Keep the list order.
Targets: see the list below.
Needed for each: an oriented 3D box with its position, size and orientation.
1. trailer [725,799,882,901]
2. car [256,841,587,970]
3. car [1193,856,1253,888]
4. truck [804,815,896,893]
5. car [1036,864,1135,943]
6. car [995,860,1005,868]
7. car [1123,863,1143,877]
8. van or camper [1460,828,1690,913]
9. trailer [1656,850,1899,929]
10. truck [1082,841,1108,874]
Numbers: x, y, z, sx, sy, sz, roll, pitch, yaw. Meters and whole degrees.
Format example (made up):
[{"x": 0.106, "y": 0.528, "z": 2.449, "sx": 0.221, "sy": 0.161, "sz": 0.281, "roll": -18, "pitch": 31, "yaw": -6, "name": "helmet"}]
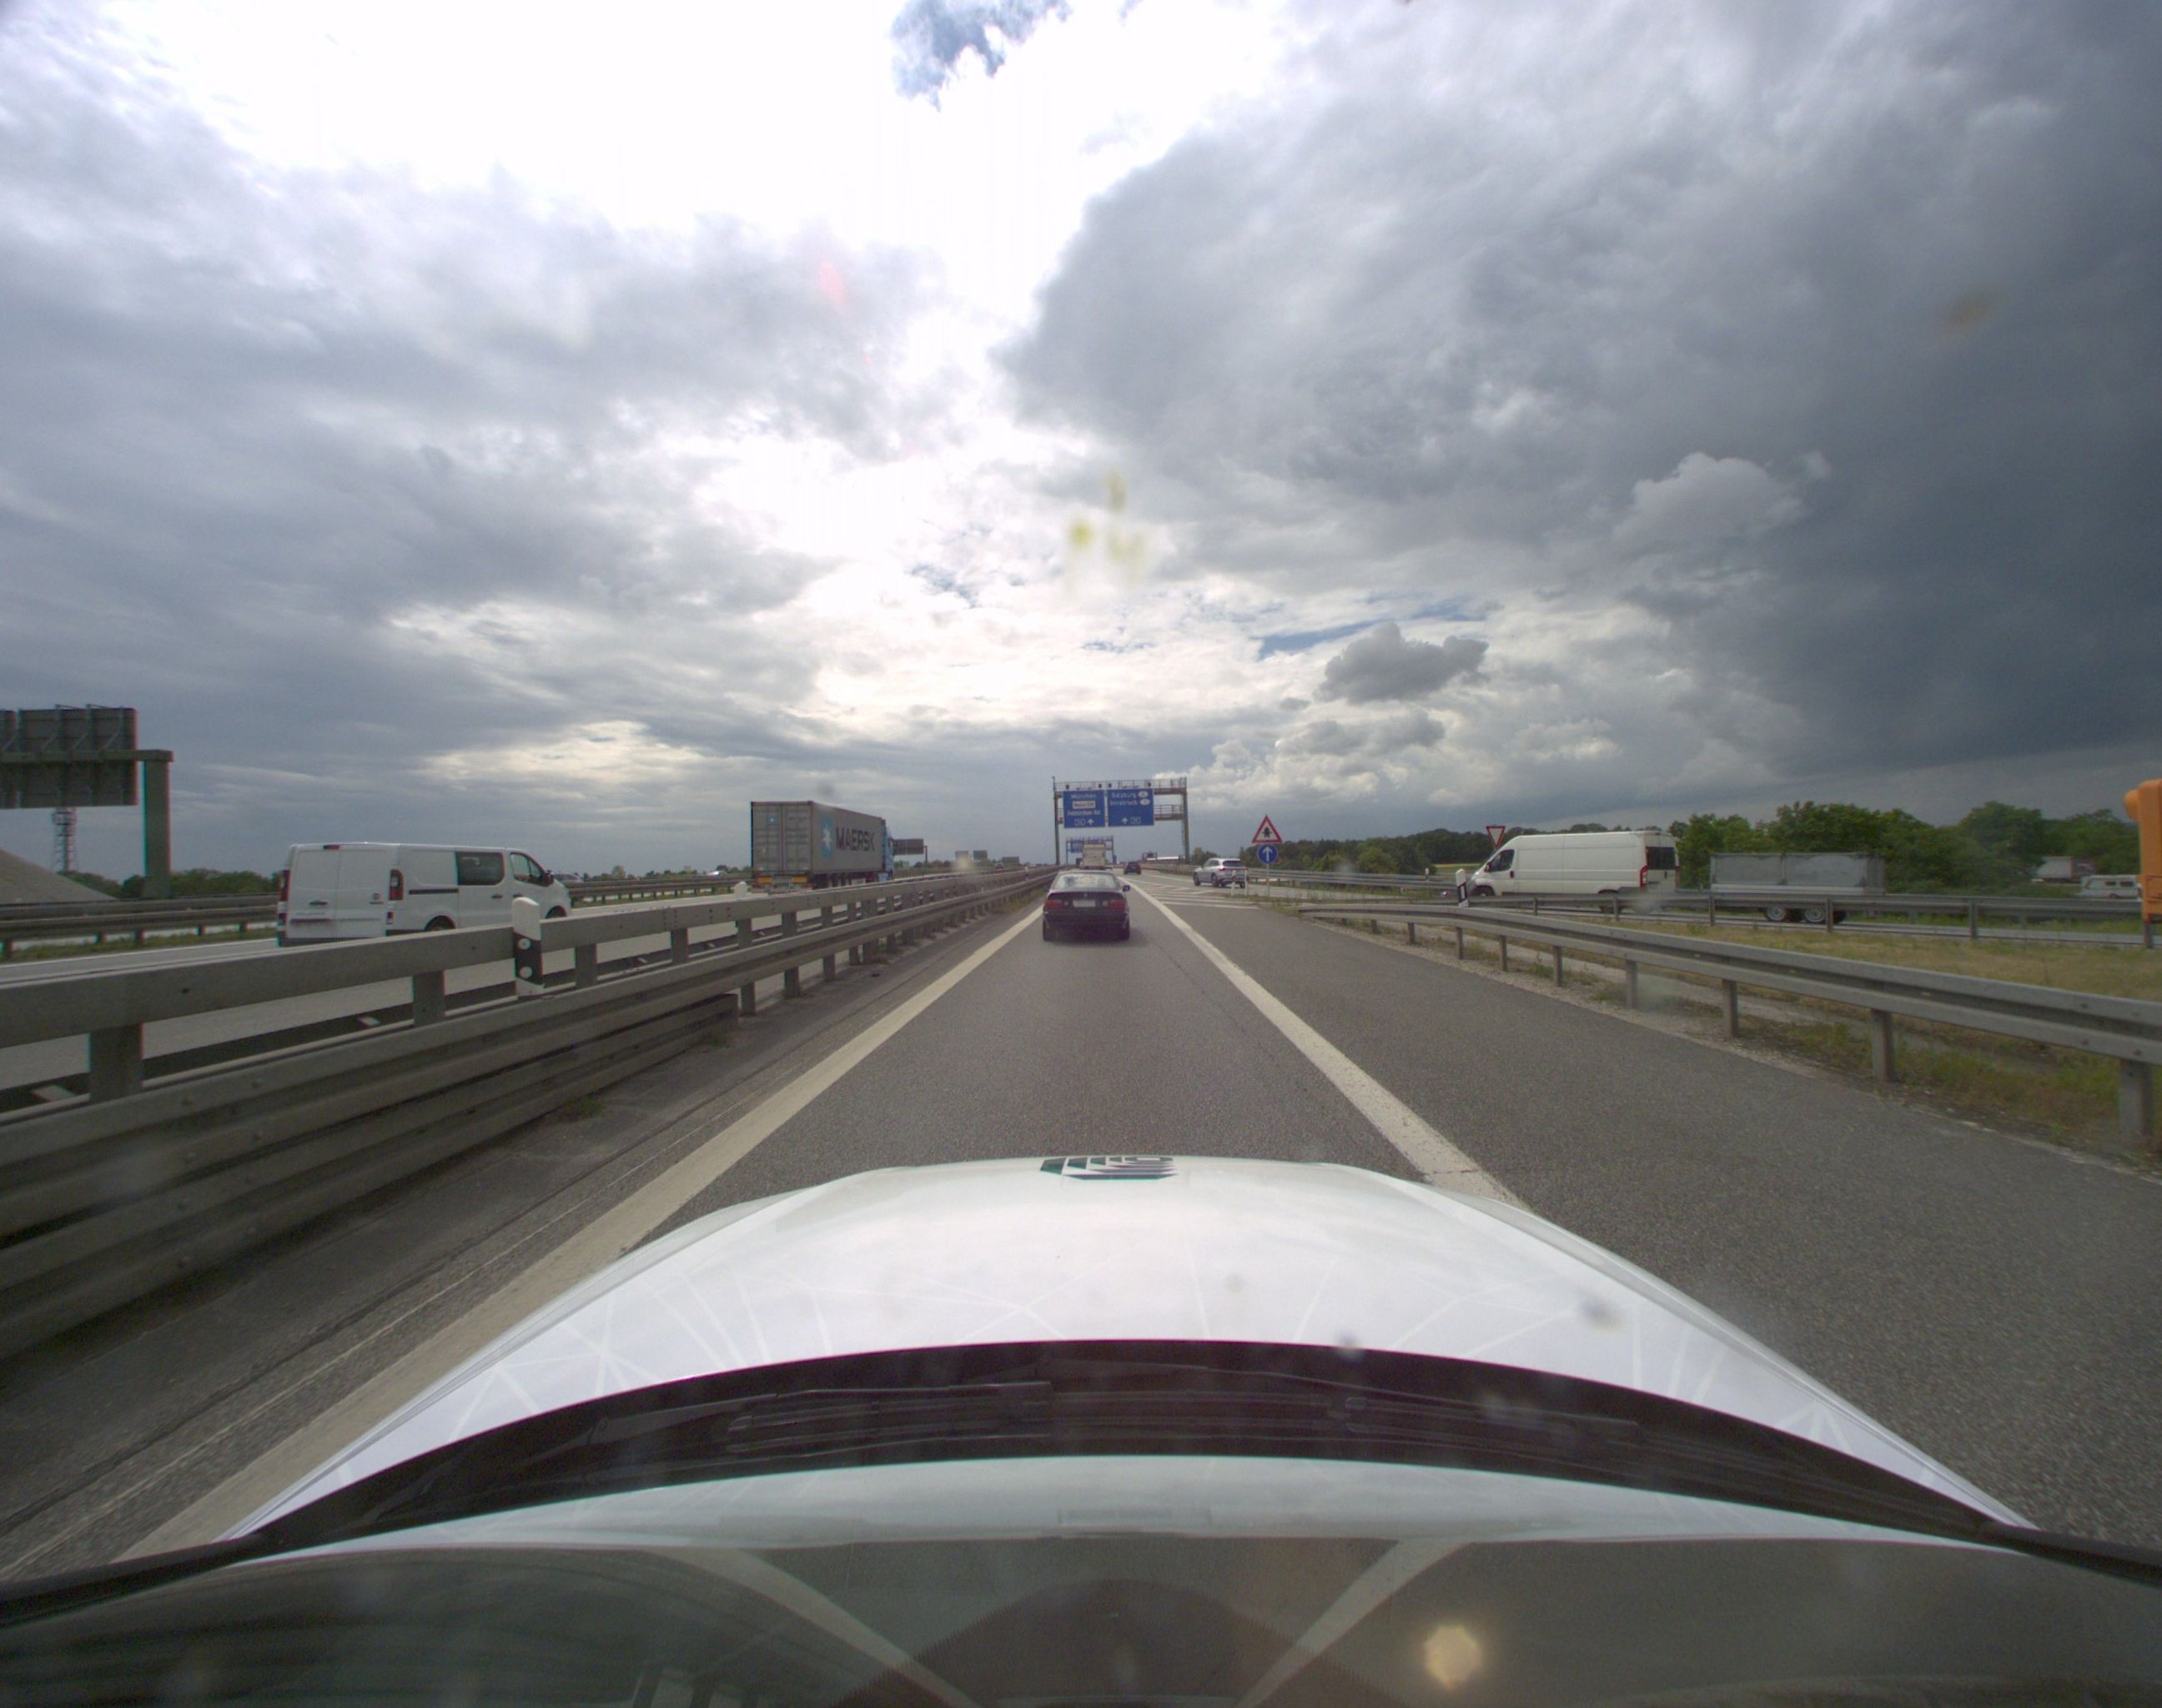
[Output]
[{"x": -12.253, "y": -0.090, "z": 37.707, "sx": 3.227, "sy": 3.924, "sz": 12.373, "roll": 0, "pitch": -1, "yaw": -1, "name": "trailer"}, {"x": -11.660, "y": 0.808, "z": 15.045, "sx": 1.994, "sy": 1.938, "sz": 5.129, "roll": -1, "pitch": -1, "yaw": -1, "name": "car"}, {"x": 7.913, "y": 0.989, "z": 45.775, "sx": 1.937, "sy": 1.685, "sz": 4.192, "roll": -1, "pitch": 0, "yaw": -11, "name": "car"}, {"x": -12.372, "y": 0.016, "z": 44.273, "sx": 3.238, "sy": 3.912, "sz": 6.606, "roll": -1, "pitch": 0, "yaw": -1, "name": "truck"}, {"x": 0.175, "y": 0.923, "z": 16.711, "sx": 1.775, "sy": 1.378, "sz": 4.139, "roll": -1, "pitch": 0, "yaw": 3, "name": "car"}, {"x": -17.027, "y": 2.130, "z": 171.115, "sx": 1.887, "sy": 1.597, "sz": 4.414, "roll": -1, "pitch": 0, "yaw": -2, "name": "car"}, {"x": 5.663, "y": 1.726, "z": 88.418, "sx": 1.986, "sy": 1.552, "sz": 4.001, "roll": 0, "pitch": -1, "yaw": 1, "name": "car"}, {"x": 15.402, "y": 0.489, "z": 25.856, "sx": 2.238, "sy": 2.361, "sz": 5.881, "roll": 0, "pitch": -1, "yaw": -31, "name": "van or camper"}, {"x": 18.129, "y": 0.828, "z": 21.432, "sx": 2.007, "sy": 1.841, "sz": 4.462, "roll": 0, "pitch": 0, "yaw": -32, "name": "trailer"}, {"x": 1.360, "y": 0.333, "z": 78.307, "sx": 2.396, "sy": 3.090, "sz": 6.370, "roll": -1, "pitch": 0, "yaw": 1, "name": "truck"}]
